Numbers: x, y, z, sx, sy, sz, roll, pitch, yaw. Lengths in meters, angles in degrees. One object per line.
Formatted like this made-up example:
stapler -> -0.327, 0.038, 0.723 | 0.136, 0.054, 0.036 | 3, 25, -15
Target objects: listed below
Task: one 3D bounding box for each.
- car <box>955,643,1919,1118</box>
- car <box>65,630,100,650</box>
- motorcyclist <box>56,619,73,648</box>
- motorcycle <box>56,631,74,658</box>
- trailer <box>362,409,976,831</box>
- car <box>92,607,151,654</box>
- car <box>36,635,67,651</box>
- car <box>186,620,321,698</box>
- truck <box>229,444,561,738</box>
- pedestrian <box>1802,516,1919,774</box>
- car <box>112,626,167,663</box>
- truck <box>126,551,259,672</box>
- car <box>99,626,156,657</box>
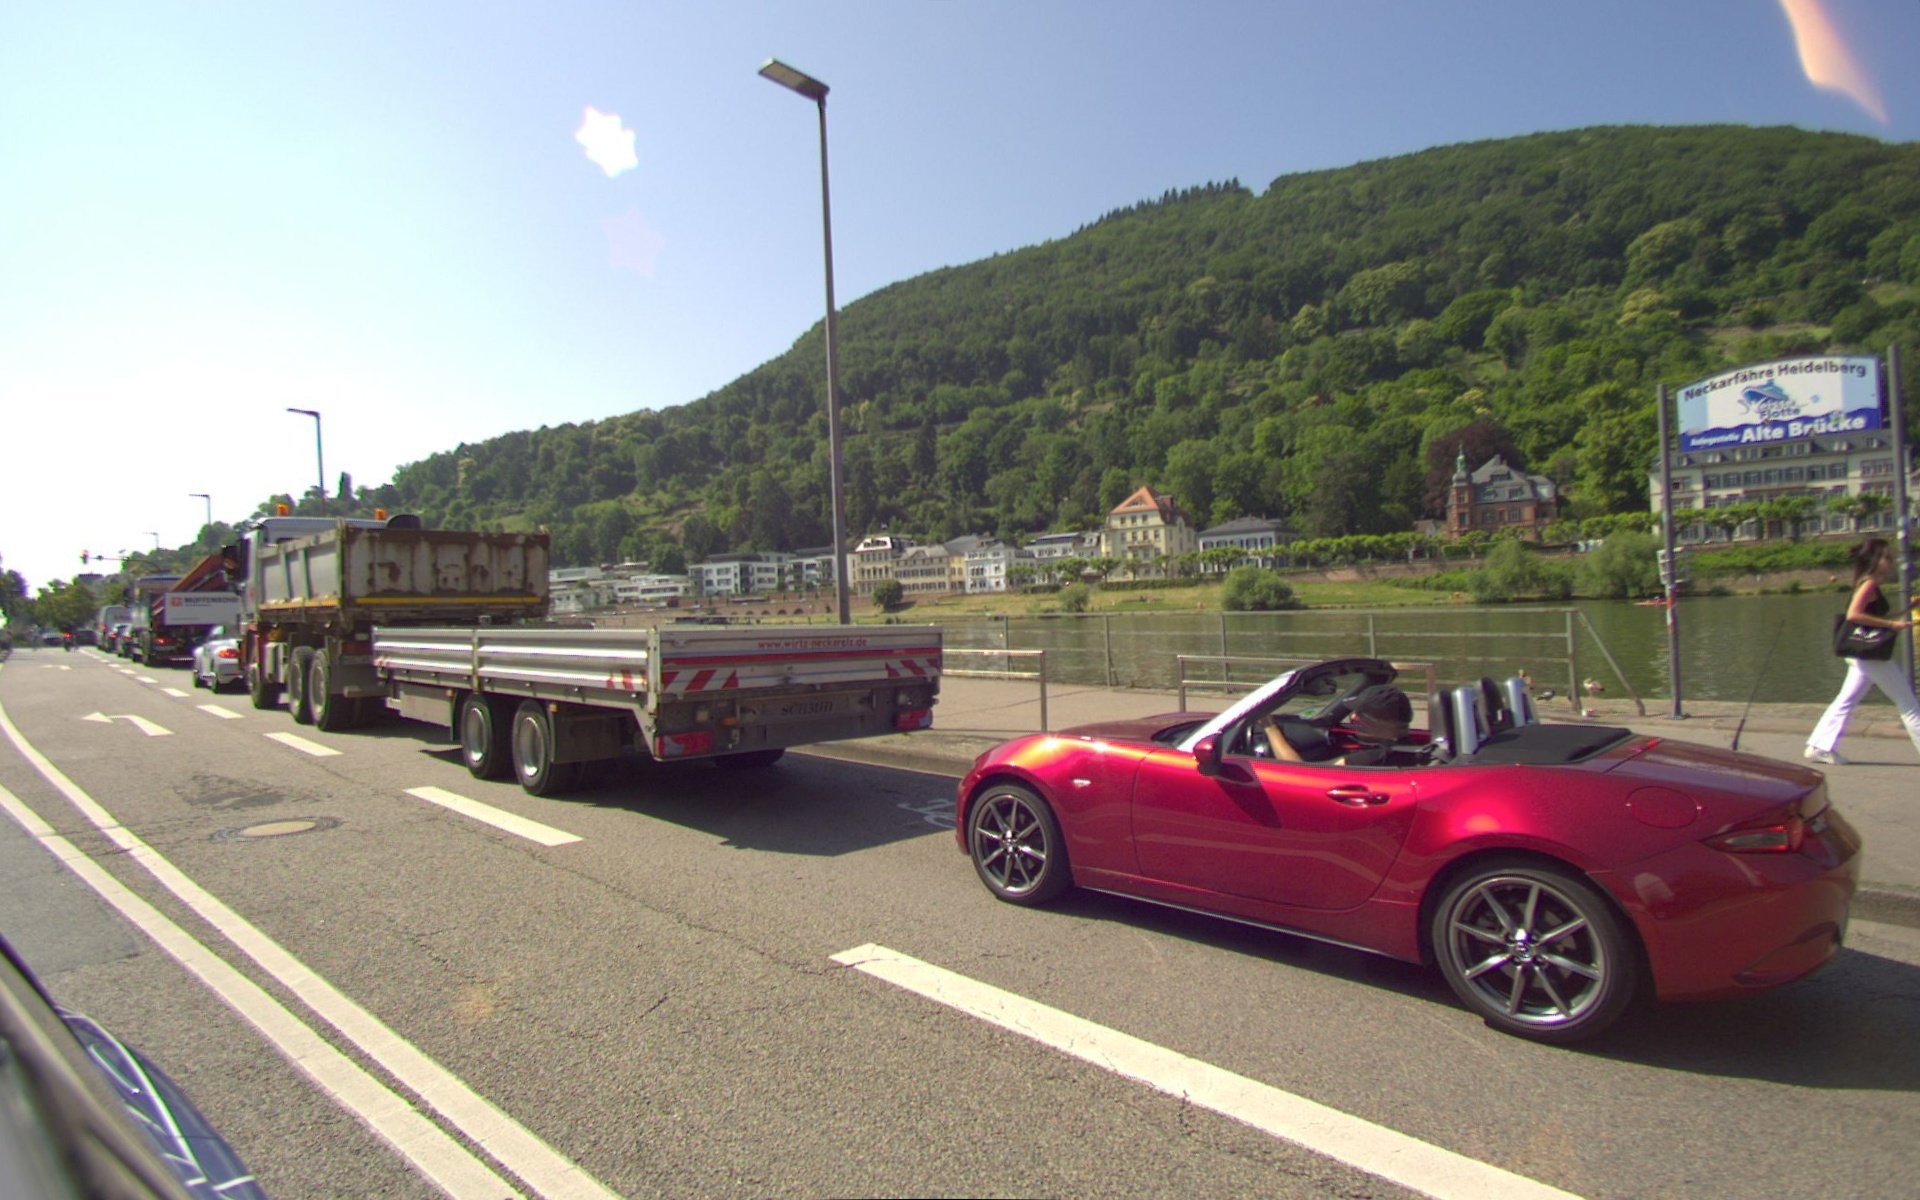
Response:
car -> 1.852, 0.819, 4.501 | 3.629, 1.203, 1.652 | -2, -2, 44
car -> -72.452, 3.291, 83.510 | 1.970, 1.463, 4.265 | -2, 0, -43
motorcyclist -> -48.422, 1.806, 54.713 | 0.693, 1.538, 0.862 | -1, 0, -42
motorcycle -> -48.394, 2.373, 54.720 | 0.717, 1.397, 2.515 | -1, -1, -41
trailer -> -3.232, 0.180, 9.566 | 2.666, 2.550, 6.953 | 1, -1, -44
car -> -47.420, 1.766, 57.211 | 2.169, 2.545, 4.753 | 3, -3, -43
car -> -84.547, 3.987, 94.153 | 3.893, 1.447, 1.882 | -2, 0, 45
car -> -14.955, 1.173, 21.336 | 1.757, 1.454, 4.001 | -1, -1, -44
truck -> -9.095, -0.030, 15.722 | 2.611, 3.483, 7.877 | 1, -2, -44
pedestrian -> 6.637, 0.290, 7.006 | 1.151, 1.714, 0.807 | -2, 0, 44
car -> -34.841, 1.836, 42.962 | 1.637, 1.447, 4.086 | -1, -1, -41
truck -> -26.249, 0.466, 34.318 | 2.610, 3.503, 11.120 | -1, -1, -42
car -> -42.258, 2.066, 51.309 | 1.970, 1.429, 4.926 | -1, -1, -42
